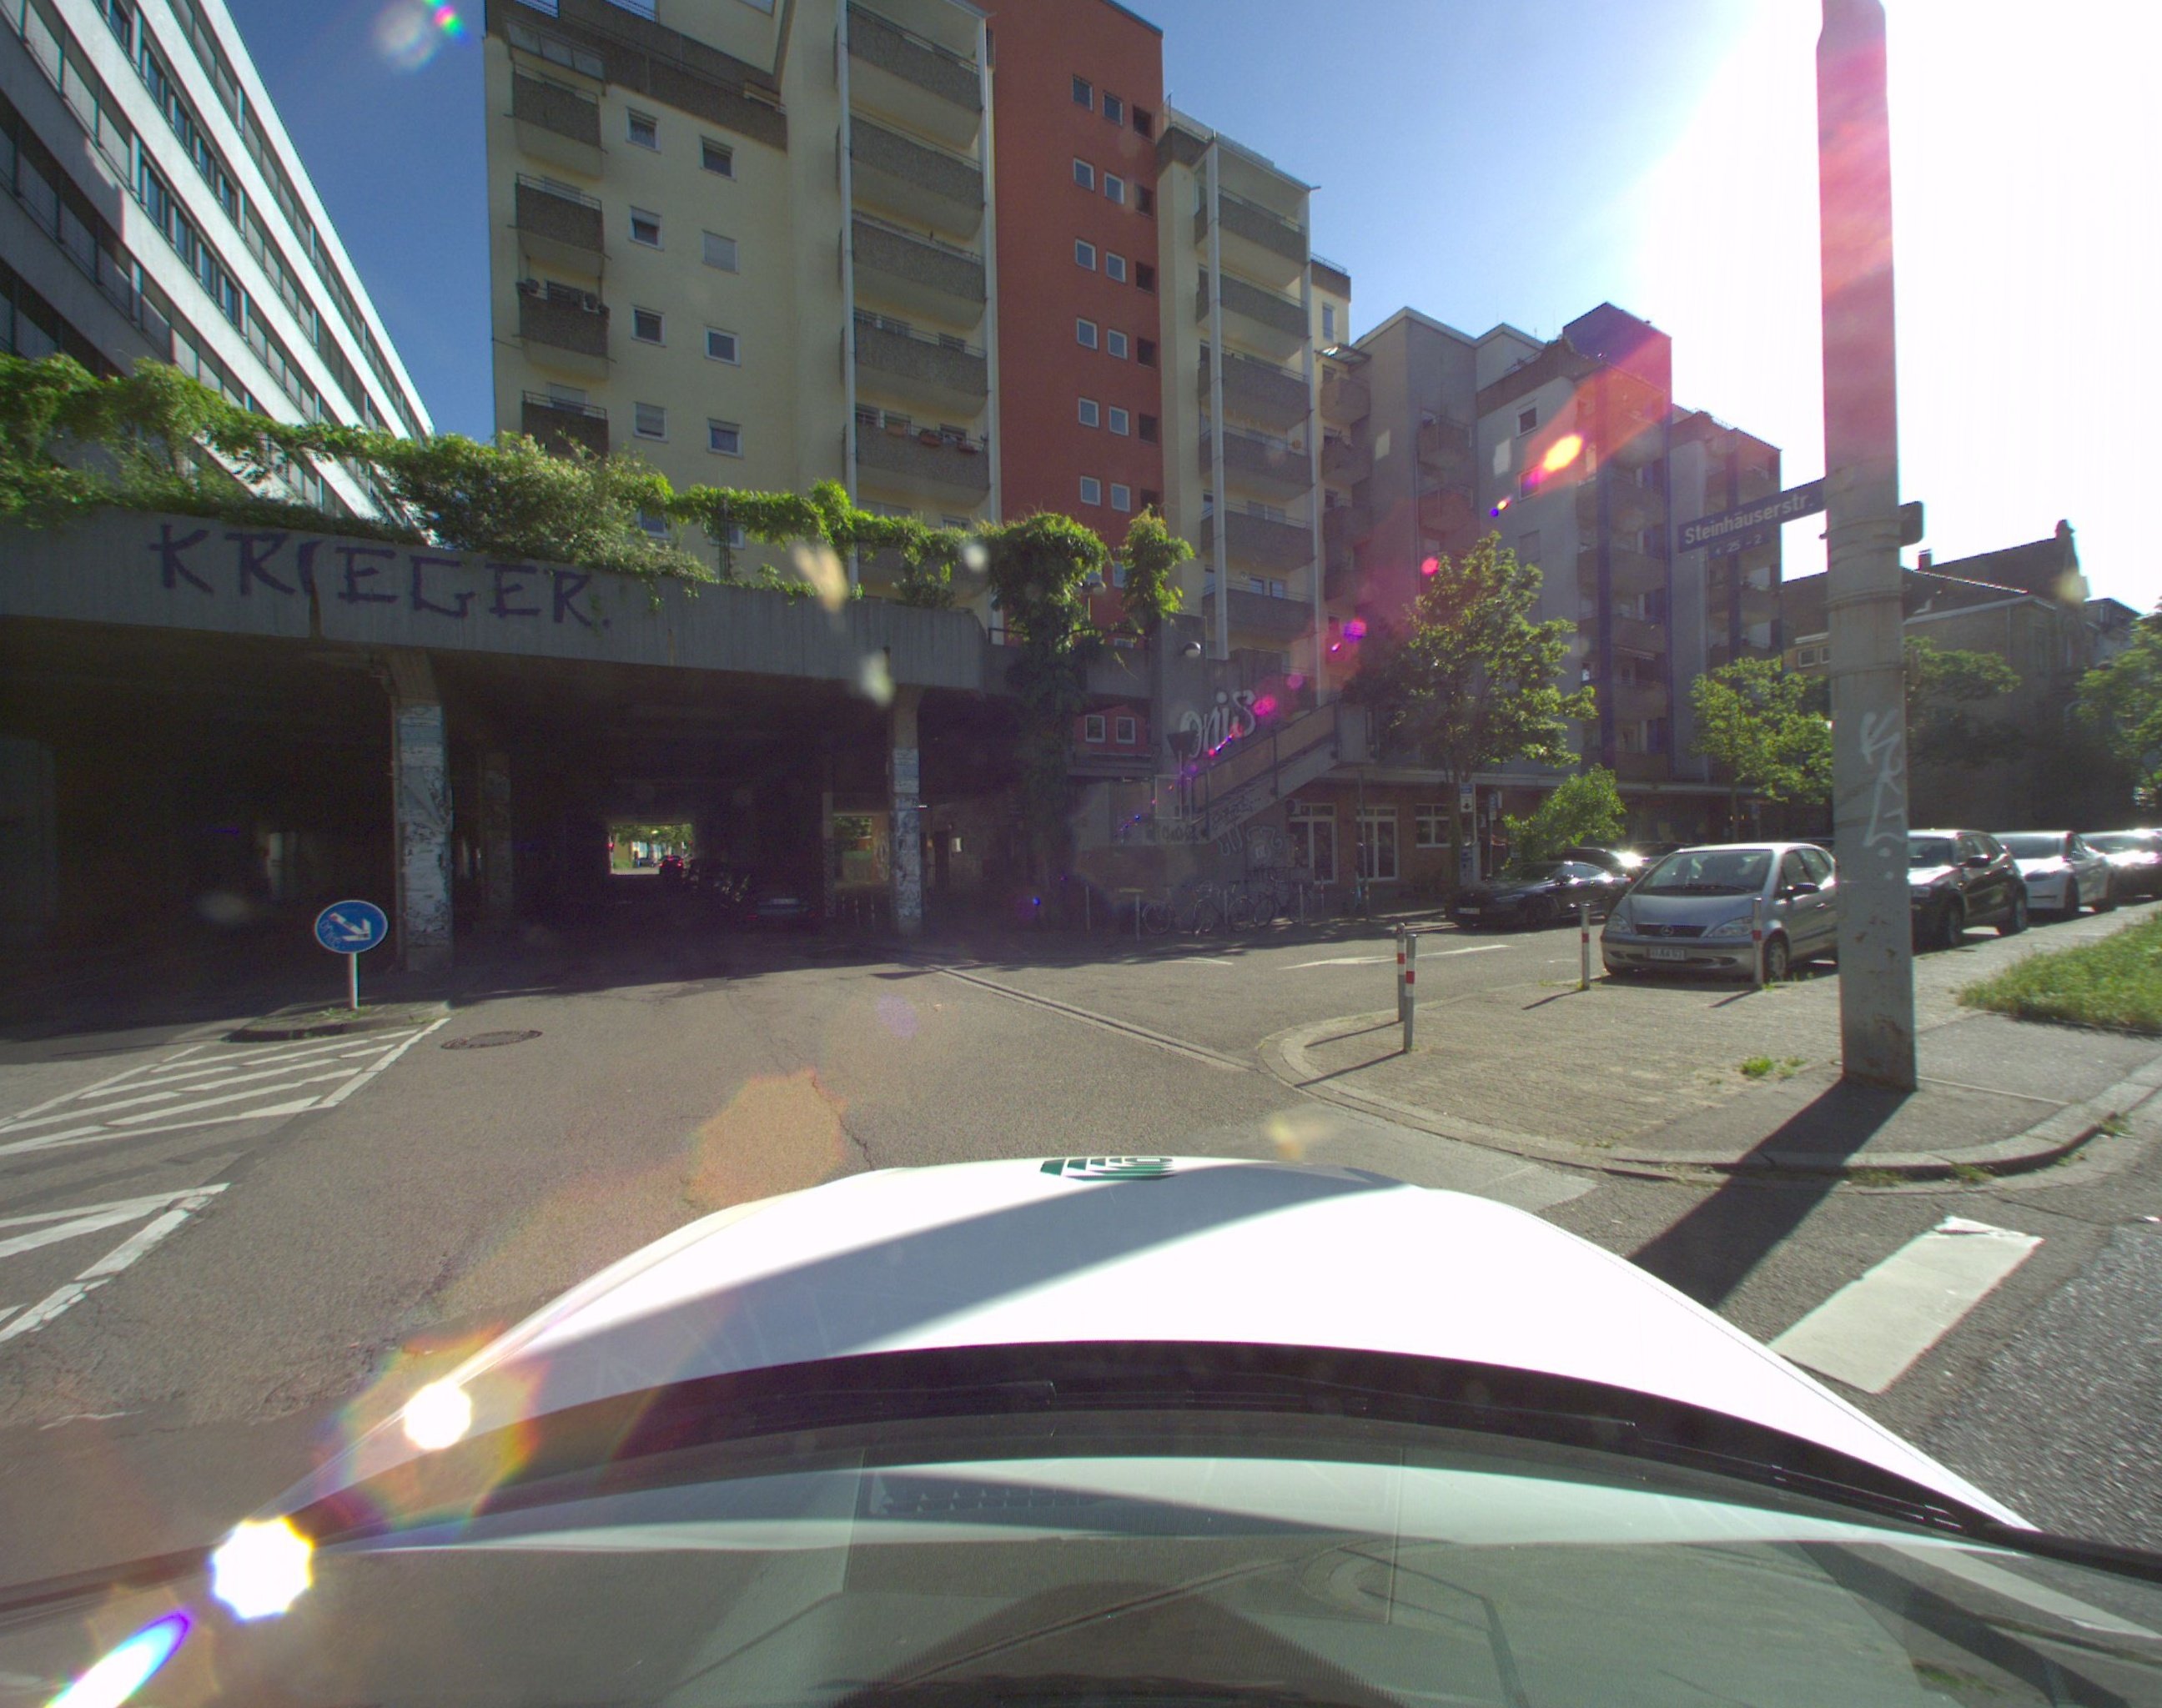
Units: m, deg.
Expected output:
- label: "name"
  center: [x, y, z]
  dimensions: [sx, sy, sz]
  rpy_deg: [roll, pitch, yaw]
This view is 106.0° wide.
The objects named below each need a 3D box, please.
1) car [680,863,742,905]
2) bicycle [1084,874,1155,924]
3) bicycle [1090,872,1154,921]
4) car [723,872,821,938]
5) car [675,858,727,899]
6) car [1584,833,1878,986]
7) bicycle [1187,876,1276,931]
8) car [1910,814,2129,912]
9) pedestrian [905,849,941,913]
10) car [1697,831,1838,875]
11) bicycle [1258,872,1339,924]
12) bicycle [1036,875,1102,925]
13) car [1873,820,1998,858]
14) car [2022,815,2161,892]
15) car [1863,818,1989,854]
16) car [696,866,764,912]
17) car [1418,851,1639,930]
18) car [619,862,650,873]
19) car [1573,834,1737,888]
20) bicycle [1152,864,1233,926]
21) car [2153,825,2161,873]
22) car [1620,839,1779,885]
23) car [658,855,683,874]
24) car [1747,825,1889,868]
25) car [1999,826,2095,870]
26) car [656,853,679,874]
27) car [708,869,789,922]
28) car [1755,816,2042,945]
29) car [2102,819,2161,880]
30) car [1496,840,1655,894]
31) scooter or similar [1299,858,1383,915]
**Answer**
- label: "car"
  center: [-14.970, 1.156, 32.853]
  dimensions: [1.741, 1.546, 4.114]
  rpy_deg: [-2, 0, -32]
- label: "bicycle"
  center: [0.828, 0.977, 17.922]
  dimensions: [1.597, 1.001, 0.418]
  rpy_deg: [0, 3, 38]
- label: "bicycle"
  center: [0.913, 0.953, 18.718]
  dimensions: [0.417, 1.001, 1.782]
  rpy_deg: [-3, 3, -36]
- label: "car"
  center: [-7.994, 1.197, 20.798]
  dimensions: [1.861, 1.433, 4.566]
  rpy_deg: [0, -1, -27]
- label: "car"
  center: [-17.555, 1.066, 37.529]
  dimensions: [1.864, 1.666, 4.330]
  rpy_deg: [-1, 1, -29]
- label: "car"
  center: [8.042, 0.568, 10.027]
  dimensions: [3.544, 1.518, 1.707]
  rpy_deg: [-2, -1, -32]
- label: "bicycle"
  center: [3.131, 1.015, 16.922]
  dimensions: [1.798, 1.030, 0.413]
  rpy_deg: [-2, 3, -13]
- label: "car"
  center: [18.197, 0.138, 15.755]
  dimensions: [4.544, 1.662, 1.876]
  rpy_deg: [-2, -2, -30]
- label: "pedestrian"
  center: [-4.403, 0.731, 22.690]
  dimensions: [0.799, 1.699, 0.750]
  rpy_deg: [-1, 2, -30]
- label: "car"
  center: [27.278, -0.032, 32.489]
  dimensions: [1.693, 1.629, 3.959]
  rpy_deg: [-2, 0, -32]
- label: "bicycle"
  center: [4.774, 0.952, 17.834]
  dimensions: [1.802, 1.001, 0.413]
  rpy_deg: [-2, 3, -20]
- label: "bicycle"
  center: [-0.295, 0.999, 18.117]
  dimensions: [0.487, 1.001, 1.782]
  rpy_deg: [-3, 1, -37]
- label: "car"
  center: [42.296, -0.719, 40.408]
  dimensions: [1.893, 1.769, 3.960]
  rpy_deg: [-2, 0, -32]
- label: "car"
  center: [23.676, -0.042, 18.639]
  dimensions: [4.009, 1.587, 1.852]
  rpy_deg: [-2, -1, -27]
- label: "car"
  center: [40.643, -0.834, 39.265]
  dimensions: [1.693, 1.629, 3.959]
  rpy_deg: [-2, 0, -32]
- label: "car"
  center: [-12.608, 1.193, 29.124]
  dimensions: [1.615, 1.487, 3.600]
  rpy_deg: [-2, 0, -33]
- label: "car"
  center: [9.548, 0.706, 17.336]
  dimensions: [4.539, 1.398, 1.880]
  rpy_deg: [-2, 0, -27]
- label: "car"
  center: [-68.195, 2.066, 124.503]
  dimensions: [4.006, 1.574, 1.626]
  rpy_deg: [-2, 0, -25]
- label: "car"
  center: [18.631, 0.217, 26.593]
  dimensions: [1.848, 1.607, 3.959]
  rpy_deg: [-2, 0, -32]
- label: "bicycle"
  center: [2.363, 0.851, 17.316]
  dimensions: [1.626, 1.237, 0.459]
  rpy_deg: [-2, 0, -7]
- label: "car"
  center: [33.915, -0.207, 24.339]
  dimensions: [4.012, 1.398, 1.743]
  rpy_deg: [-2, 0, -30]
- label: "car"
  center: [20.950, 0.275, 27.739]
  dimensions: [1.693, 1.424, 3.959]
  rpy_deg: [-2, 0, -32]
- label: "car"
  center: [-35.554, 0.886, 70.550]
  dimensions: [1.837, 1.501, 4.173]
  rpy_deg: [-2, 1, -28]
- label: "car"
  center: [29.872, -0.273, 33.124]
  dimensions: [1.693, 1.629, 3.959]
  rpy_deg: [-2, 0, -32]
- label: "car"
  center: [38.743, -0.251, 32.639]
  dimensions: [4.011, 1.646, 1.752]
  rpy_deg: [-2, 0, -29]
- label: "car"
  center: [-38.882, 0.854, 76.522]
  dimensions: [1.826, 1.882, 4.543]
  rpy_deg: [-2, 1, -28]
- label: "car"
  center: [-10.249, 1.196, 24.921]
  dimensions: [1.772, 1.410, 4.024]
  rpy_deg: [-2, 0, -30]
- label: "car"
  center: [12.472, 0.313, 12.377]
  dimensions: [4.516, 1.627, 1.857]
  rpy_deg: [-2, 0, -29]
- label: "car"
  center: [29.108, -0.176, 21.694]
  dimensions: [4.012, 1.553, 1.740]
  rpy_deg: [-2, 0, -30]
- label: "car"
  center: [15.741, 0.389, 26.106]
  dimensions: [1.776, 1.551, 3.959]
  rpy_deg: [-2, 0, -32]
- label: "scooter or similar"
  center: [6.310, 0.768, 19.845]
  dimensions: [0.633, 1.277, 1.952]
  rpy_deg: [-2, 0, -33]
